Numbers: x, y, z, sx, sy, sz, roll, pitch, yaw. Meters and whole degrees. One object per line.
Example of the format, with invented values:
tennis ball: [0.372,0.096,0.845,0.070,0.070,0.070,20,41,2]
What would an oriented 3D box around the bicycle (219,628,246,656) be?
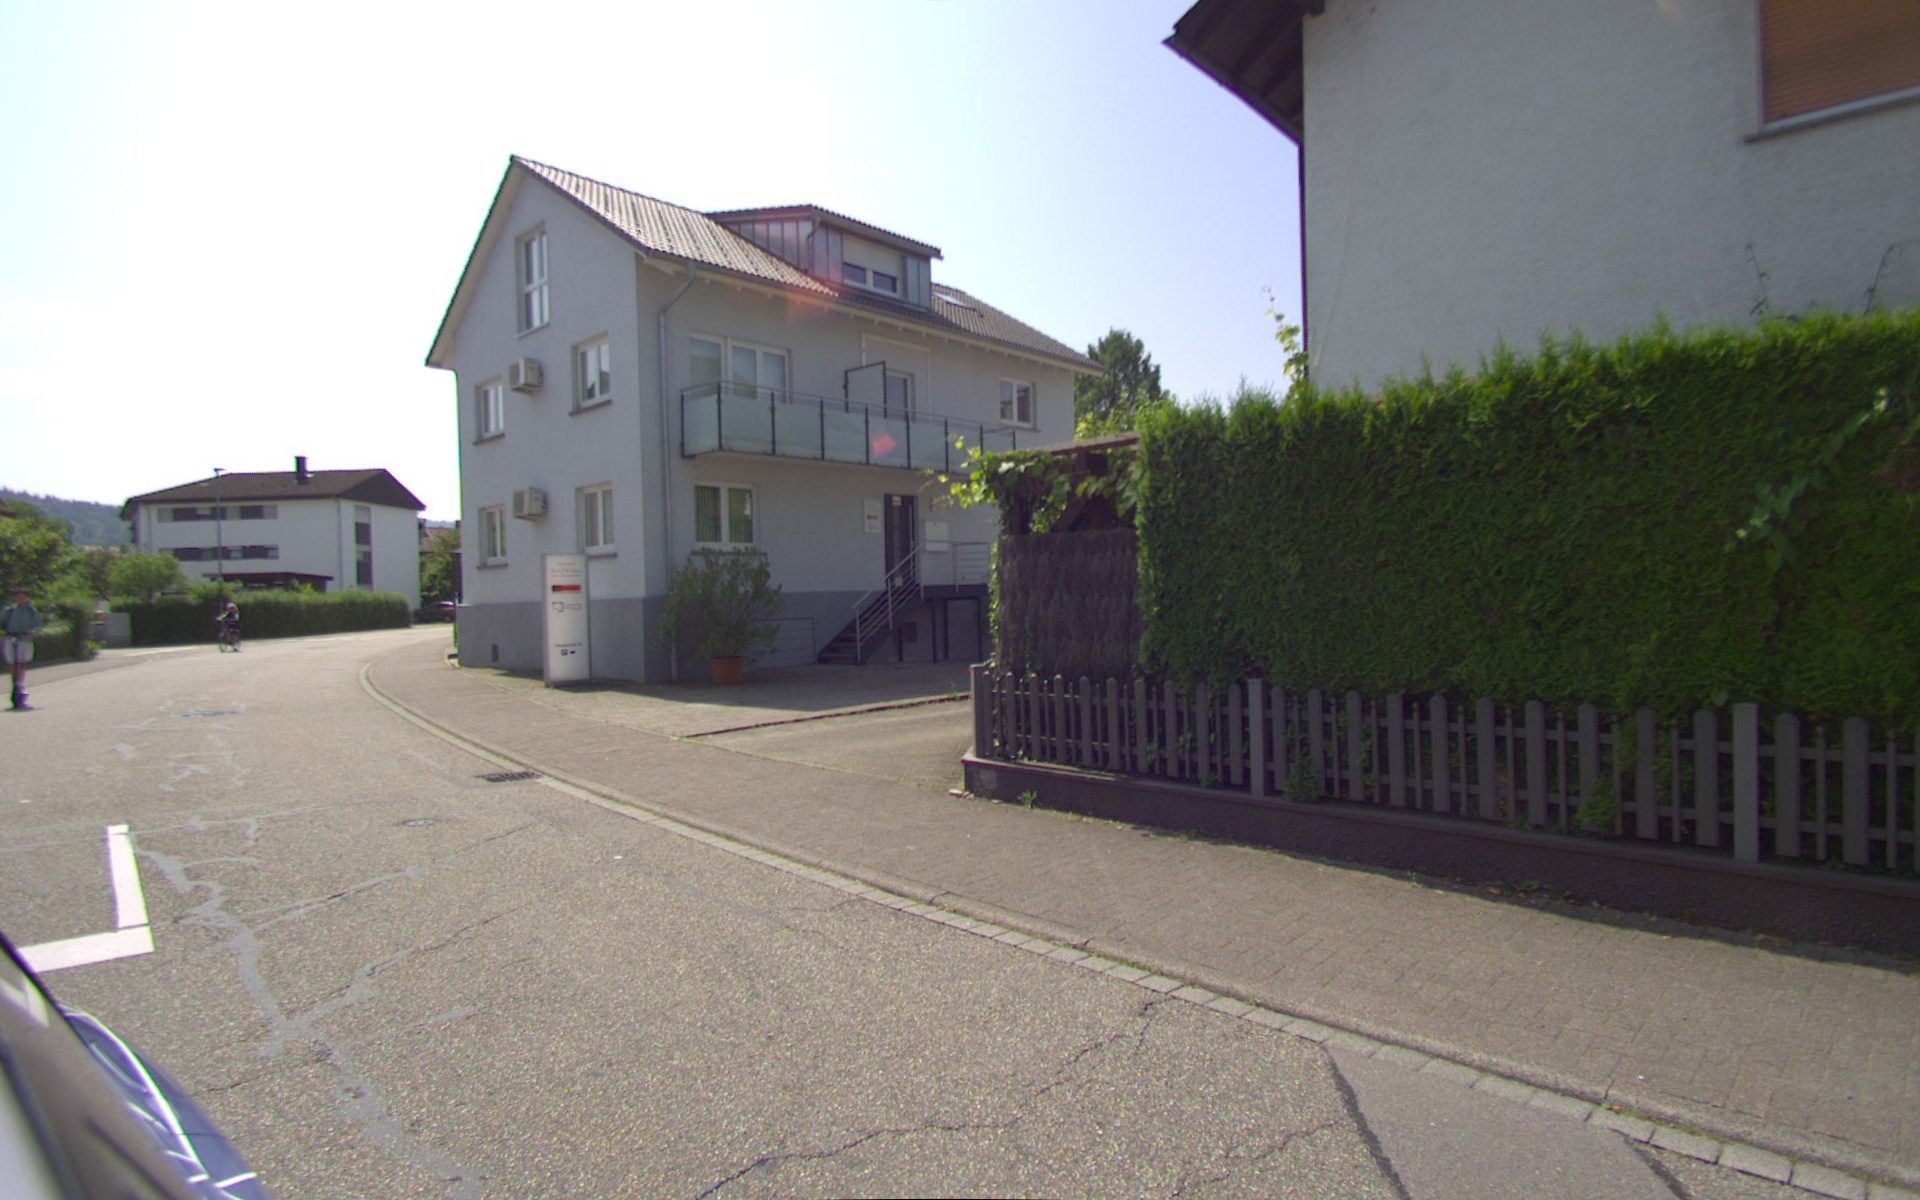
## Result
bicycle: [-26.059,1.497,36.252,0.513,0.911,1.317,-1,0,-24]

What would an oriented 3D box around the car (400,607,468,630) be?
car: [-40.753,1.404,78.469,4.227,1.684,2.068,0,0,-5]

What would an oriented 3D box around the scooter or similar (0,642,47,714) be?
scooter or similar: [-15.314,1.264,16.525,0.534,1.098,0.692,-2,0,-39]

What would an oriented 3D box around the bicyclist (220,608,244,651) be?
bicyclist: [-26.076,1.060,36.267,0.538,1.501,0.799,-1,1,-24]

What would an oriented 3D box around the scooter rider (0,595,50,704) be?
scooter rider: [-15.322,0.789,16.532,0.608,1.737,0.641,-1,1,-40]
